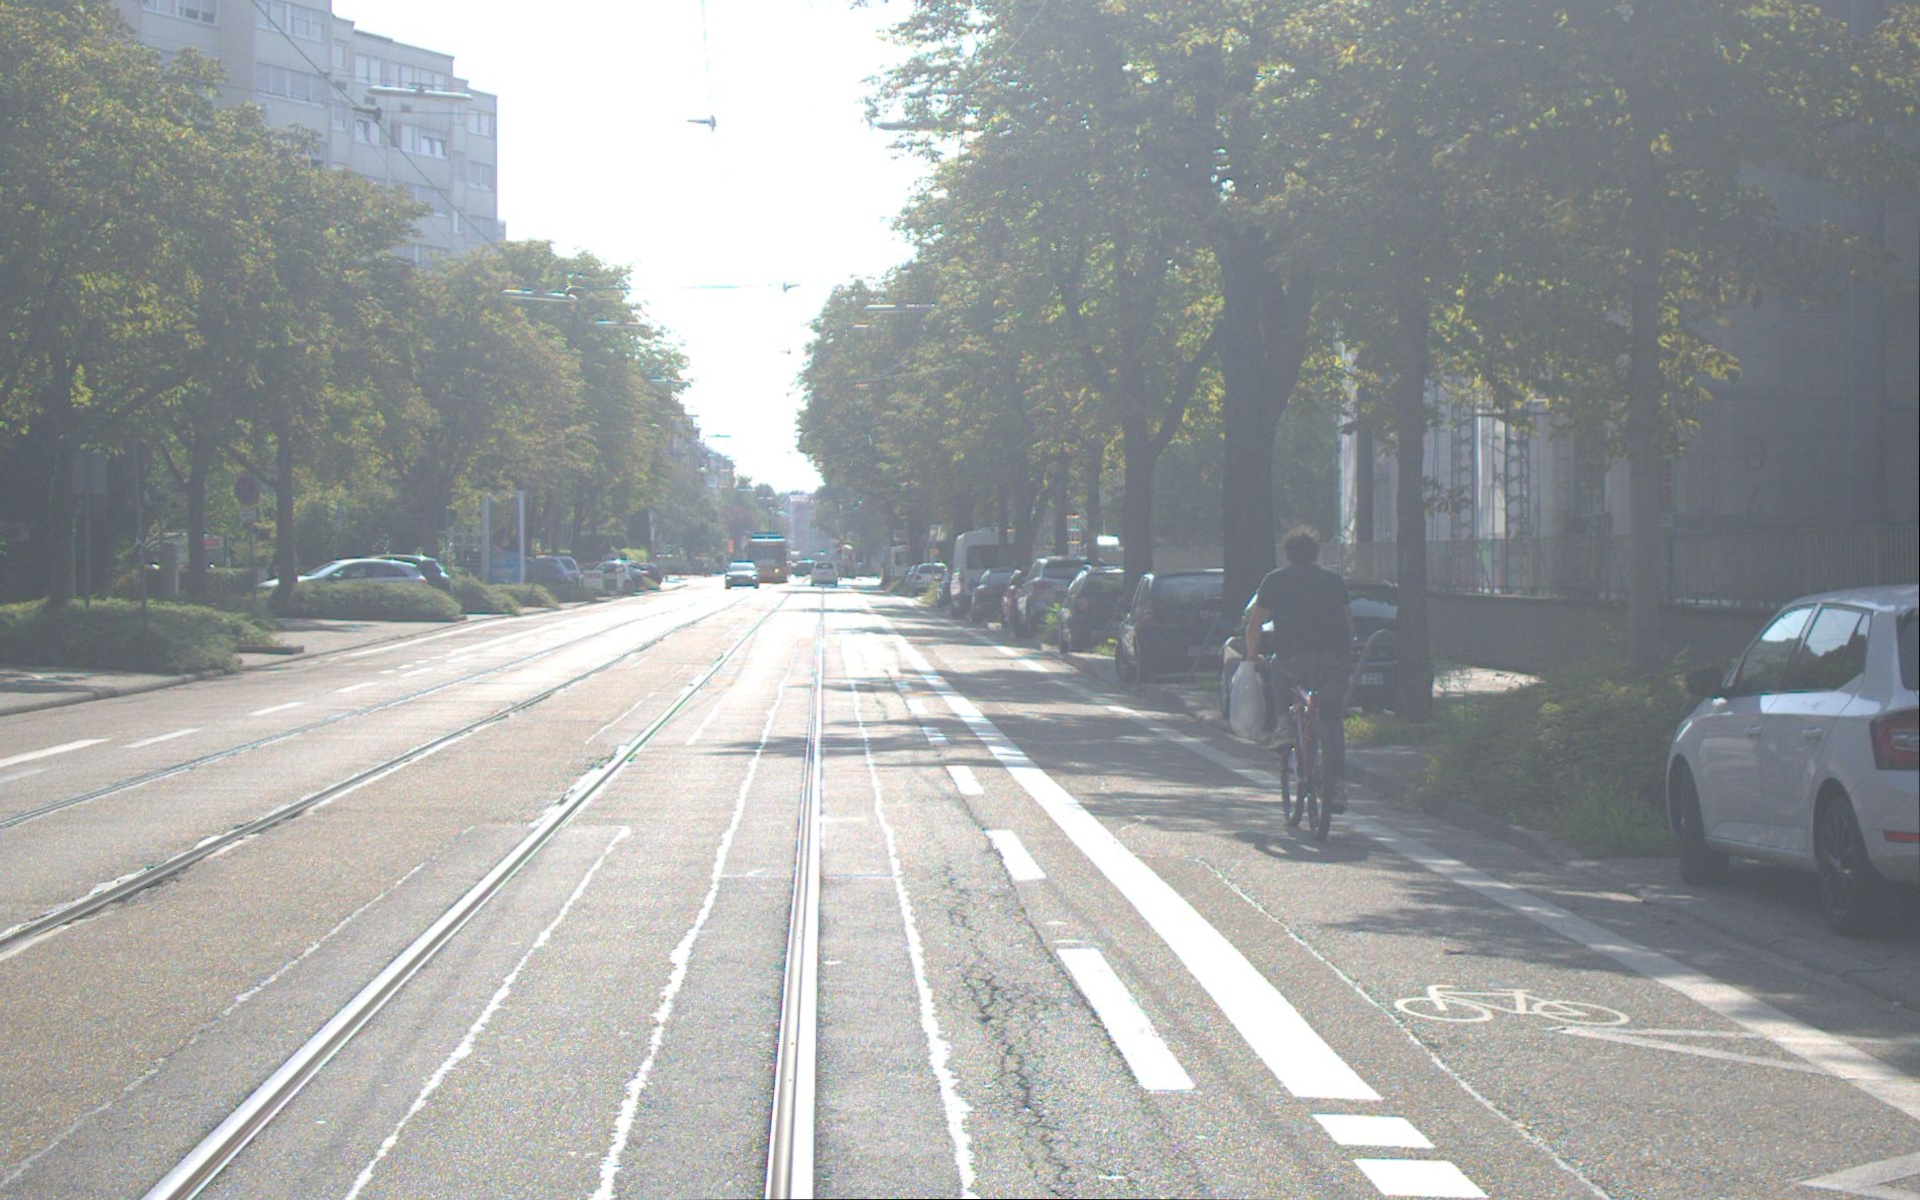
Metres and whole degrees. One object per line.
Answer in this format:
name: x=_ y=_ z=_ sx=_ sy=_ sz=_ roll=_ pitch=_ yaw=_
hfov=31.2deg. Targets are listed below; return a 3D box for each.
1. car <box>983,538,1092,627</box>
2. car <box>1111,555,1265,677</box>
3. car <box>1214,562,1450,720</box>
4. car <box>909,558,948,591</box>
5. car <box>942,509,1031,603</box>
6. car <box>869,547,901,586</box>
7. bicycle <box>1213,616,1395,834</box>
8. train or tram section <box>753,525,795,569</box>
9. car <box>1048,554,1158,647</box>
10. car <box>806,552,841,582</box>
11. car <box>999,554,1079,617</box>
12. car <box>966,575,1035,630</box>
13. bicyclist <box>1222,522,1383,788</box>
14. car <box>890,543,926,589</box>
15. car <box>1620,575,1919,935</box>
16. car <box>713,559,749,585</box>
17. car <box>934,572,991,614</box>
car: x=1.522 y=-0.374 z=68.843 sx=1.753 sy=1.685 sz=4.397 roll=1 pitch=1 yaw=-4
car: x=2.986 y=0.193 z=45.661 sx=1.646 sy=1.506 sz=3.778 roll=-2 pitch=0 yaw=-2
car: x=3.603 y=0.360 z=33.947 sx=1.646 sy=1.423 sz=4.085 roll=-1 pitch=1 yaw=-3
car: x=-1.409 y=-1.133 z=152.392 sx=1.689 sy=1.413 sz=3.634 roll=0 pitch=0 yaw=-1
car: x=0.738 y=-1.249 z=99.939 sx=2.082 sy=2.544 sz=5.502 roll=-3 pitch=0 yaw=-4
car: x=-4.843 y=-2.146 z=220.982 sx=2.004 sy=2.467 sz=4.477 roll=0 pitch=0 yaw=-1
bicycle: x=1.928 y=0.675 z=19.569 sx=0.787 sy=1.140 sz=2.305 roll=0 pitch=0 yaw=0
train or tram section: x=-12.882 y=-3.640 z=239.017 sx=2.728 sy=2.885 sz=15.456 roll=0 pitch=0 yaw=-2
car: x=2.399 y=-0.012 z=58.370 sx=1.576 sy=1.480 sz=3.739 roll=-1 pitch=1 yaw=-2
car: x=-8.195 y=-1.982 z=207.002 sx=1.993 sy=1.831 sz=4.000 roll=0 pitch=0 yaw=-1
car: x=1.803 y=-0.343 z=79.412 sx=1.616 sy=1.409 sz=4.000 roll=-1 pitch=0 yaw=-2
car: x=1.036 y=0.047 z=89.539 sx=1.616 sy=1.369 sz=4.827 roll=-1 pitch=0 yaw=-1
bicyclist: x=1.936 y=0.300 z=19.559 sx=0.787 sy=1.465 sz=1.116 roll=0 pitch=0 yaw=0
car: x=-2.967 y=-1.916 z=194.290 sx=2.004 sy=2.482 sz=4.477 roll=0 pitch=-1 yaw=-1
car: x=4.346 y=0.600 z=15.692 sx=1.640 sy=1.425 sz=3.989 roll=-1 pitch=0 yaw=-4
car: x=-12.438 y=-1.529 z=186.897 sx=1.828 sy=1.371 sz=4.513 roll=0 pitch=0 yaw=-3
car: x=0.063 y=-0.258 z=118.795 sx=1.753 sy=1.373 sz=4.719 roll=-2 pitch=0 yaw=-2
